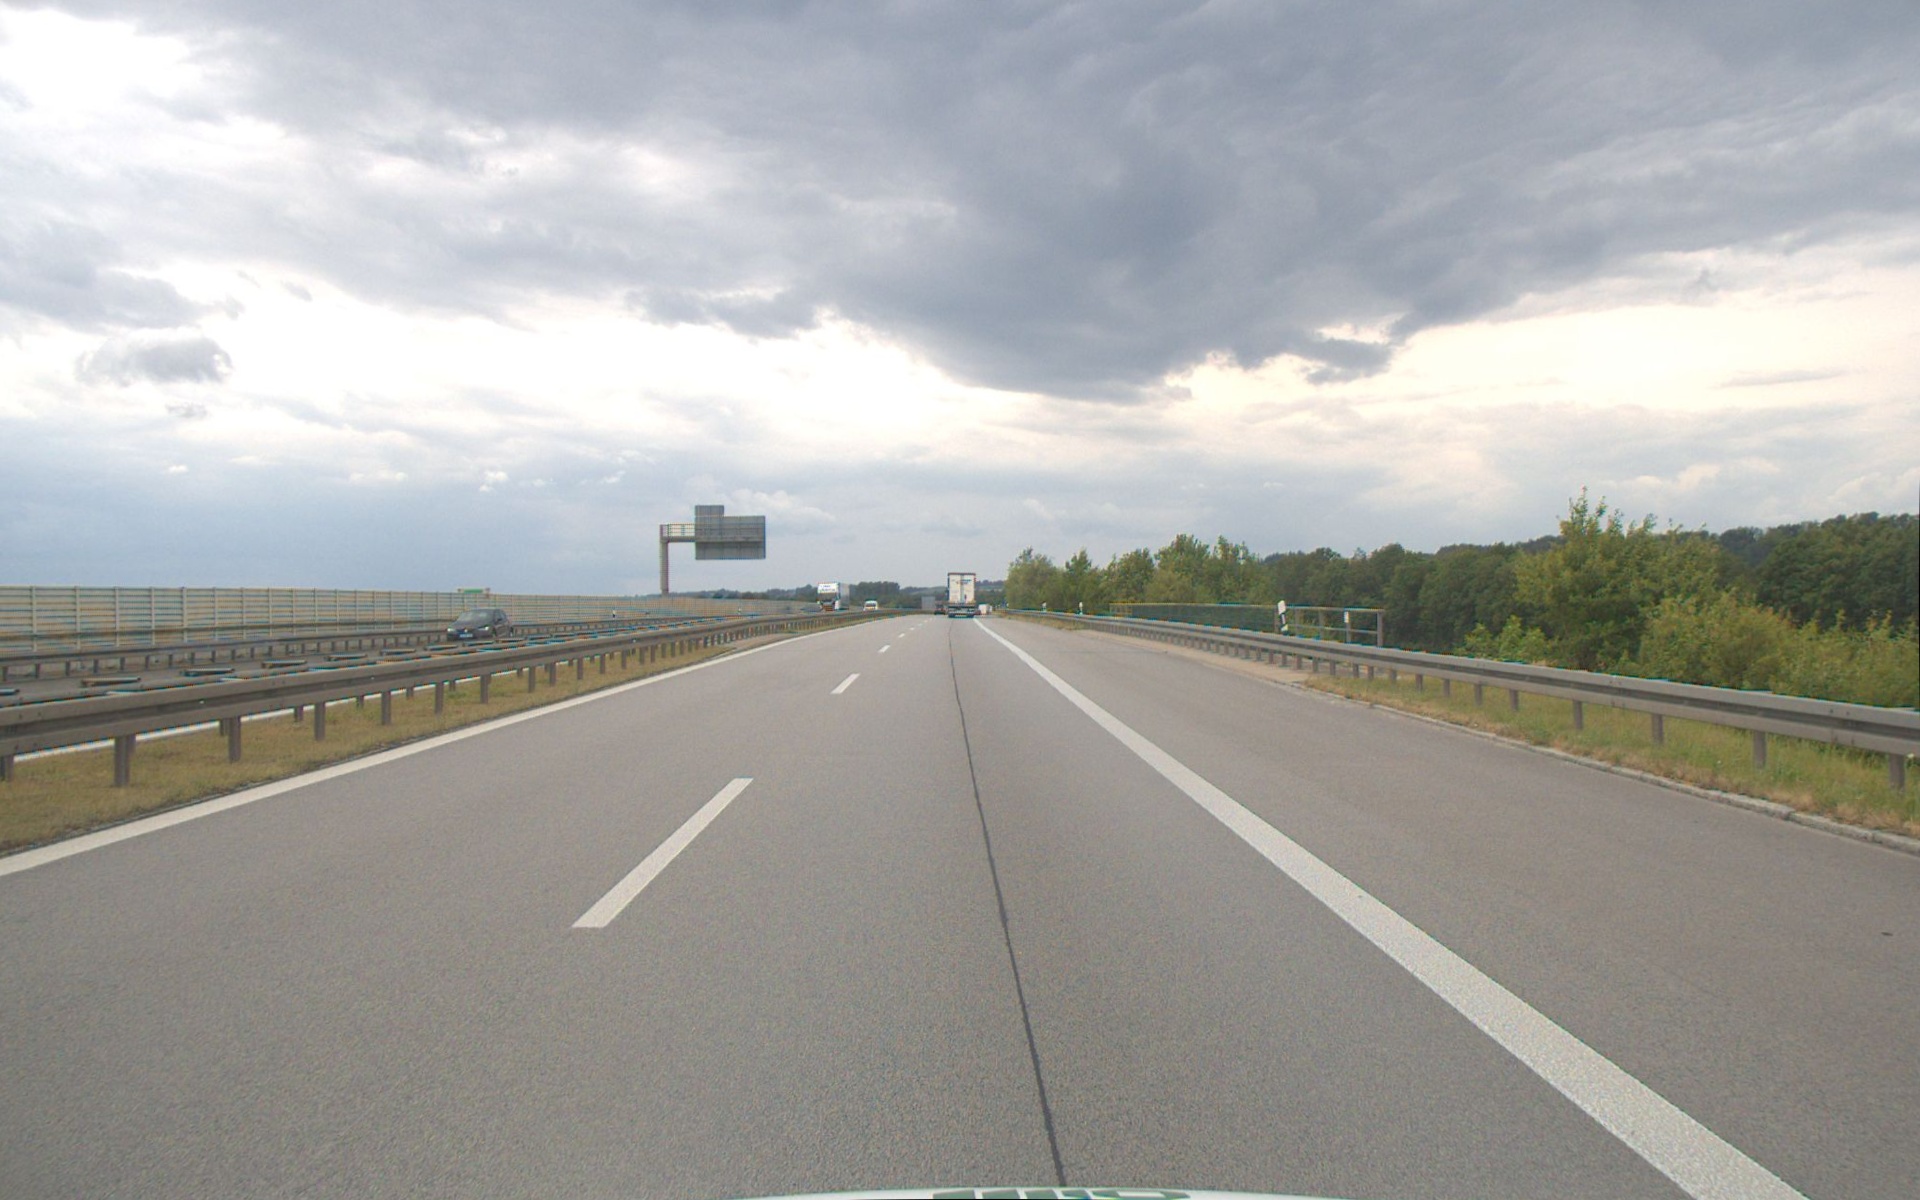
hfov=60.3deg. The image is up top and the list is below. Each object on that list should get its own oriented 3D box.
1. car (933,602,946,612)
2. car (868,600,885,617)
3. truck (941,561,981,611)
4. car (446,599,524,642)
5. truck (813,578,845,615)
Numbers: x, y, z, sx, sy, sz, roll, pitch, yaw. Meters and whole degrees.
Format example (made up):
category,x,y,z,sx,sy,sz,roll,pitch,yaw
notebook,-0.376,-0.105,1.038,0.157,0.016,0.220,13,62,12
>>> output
category,x,y,z,sx,sy,sz,roll,pitch,yaw
car,-3.112,1.022,251.268,1.954,1.445,3.998,0,1,-3
car,-10.047,1.006,199.355,1.777,1.879,4.180,4,-1,0
truck,0.129,-1.191,158.259,3.597,4.490,16.339,-1,-1,0
car,-18.091,0.758,63.210,1.669,1.521,4.565,-2,0,-1
truck,-15.247,-0.404,192.355,3.046,4.084,7.323,-2,0,0
